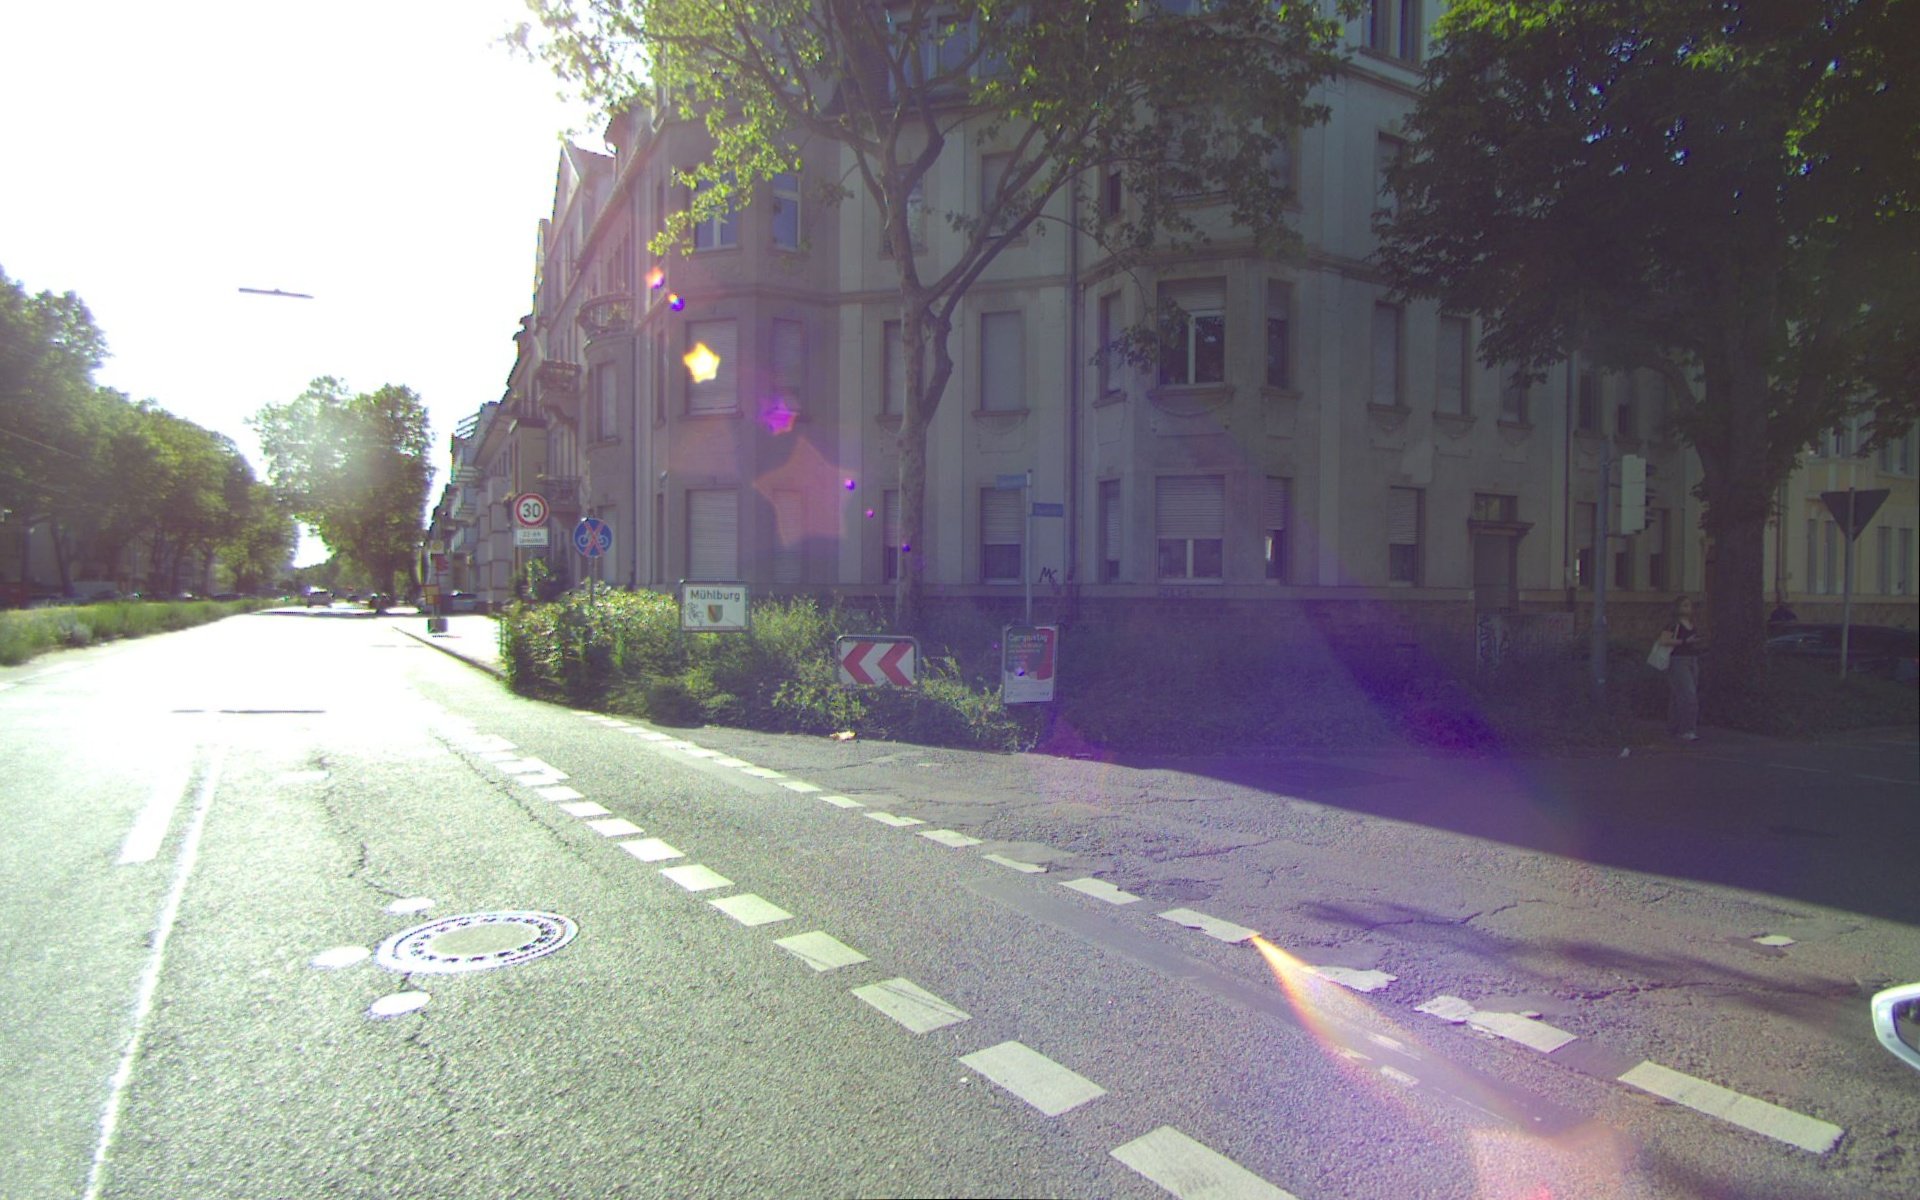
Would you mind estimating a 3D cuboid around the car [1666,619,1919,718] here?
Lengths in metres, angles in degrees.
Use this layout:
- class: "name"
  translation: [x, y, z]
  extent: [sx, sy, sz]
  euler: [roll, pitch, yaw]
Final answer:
- class: "car"
  translation: [14.677, 1.085, 17.284]
  extent: [1.594, 1.495, 3.868]
  euler: [1, -1, -27]

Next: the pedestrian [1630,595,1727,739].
- class: "pedestrian"
  translation: [8.800, 0.795, 12.322]
  extent: [0.669, 1.704, 0.693]
  euler: [0, 0, -16]

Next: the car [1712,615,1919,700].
- class: "car"
  translation: [16.739, 1.028, 18.883]
  extent: [1.598, 1.434, 3.860]
  euler: [0, 0, -33]

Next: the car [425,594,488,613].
- class: "car"
  translation: [-35.868, 0.255, 71.522]
  extent: [3.952, 1.325, 1.531]
  euler: [0, 0, -30]

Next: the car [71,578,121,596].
- class: "car"
  translation: [-89.074, -1.348, 103.616]
  extent: [3.783, 1.729, 1.822]
  euler: [-2, 4, -44]

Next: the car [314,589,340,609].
- class: "car"
  translation: [-62.389, -0.115, 99.005]
  extent: [1.962, 1.860, 4.083]
  euler: [0, 0, -29]

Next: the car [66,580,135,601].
- class: "car"
  translation: [-80.168, -0.910, 93.768]
  extent: [1.810, 1.729, 4.589]
  euler: [2, 3, 23]

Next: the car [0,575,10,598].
- class: "car"
  translation: [-72.317, -0.955, 73.351]
  extent: [1.810, 1.729, 3.807]
  euler: [2, 3, 21]

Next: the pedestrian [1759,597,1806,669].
- class: "pedestrian"
  translation: [19.449, 0.776, 23.760]
  extent: [0.881, 1.680, 0.459]
  euler: [0, 0, -19]

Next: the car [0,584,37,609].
- class: "car"
  translation: [-70.240, -0.233, 73.291]
  extent: [1.810, 1.729, 3.807]
  euler: [2, 3, 21]
